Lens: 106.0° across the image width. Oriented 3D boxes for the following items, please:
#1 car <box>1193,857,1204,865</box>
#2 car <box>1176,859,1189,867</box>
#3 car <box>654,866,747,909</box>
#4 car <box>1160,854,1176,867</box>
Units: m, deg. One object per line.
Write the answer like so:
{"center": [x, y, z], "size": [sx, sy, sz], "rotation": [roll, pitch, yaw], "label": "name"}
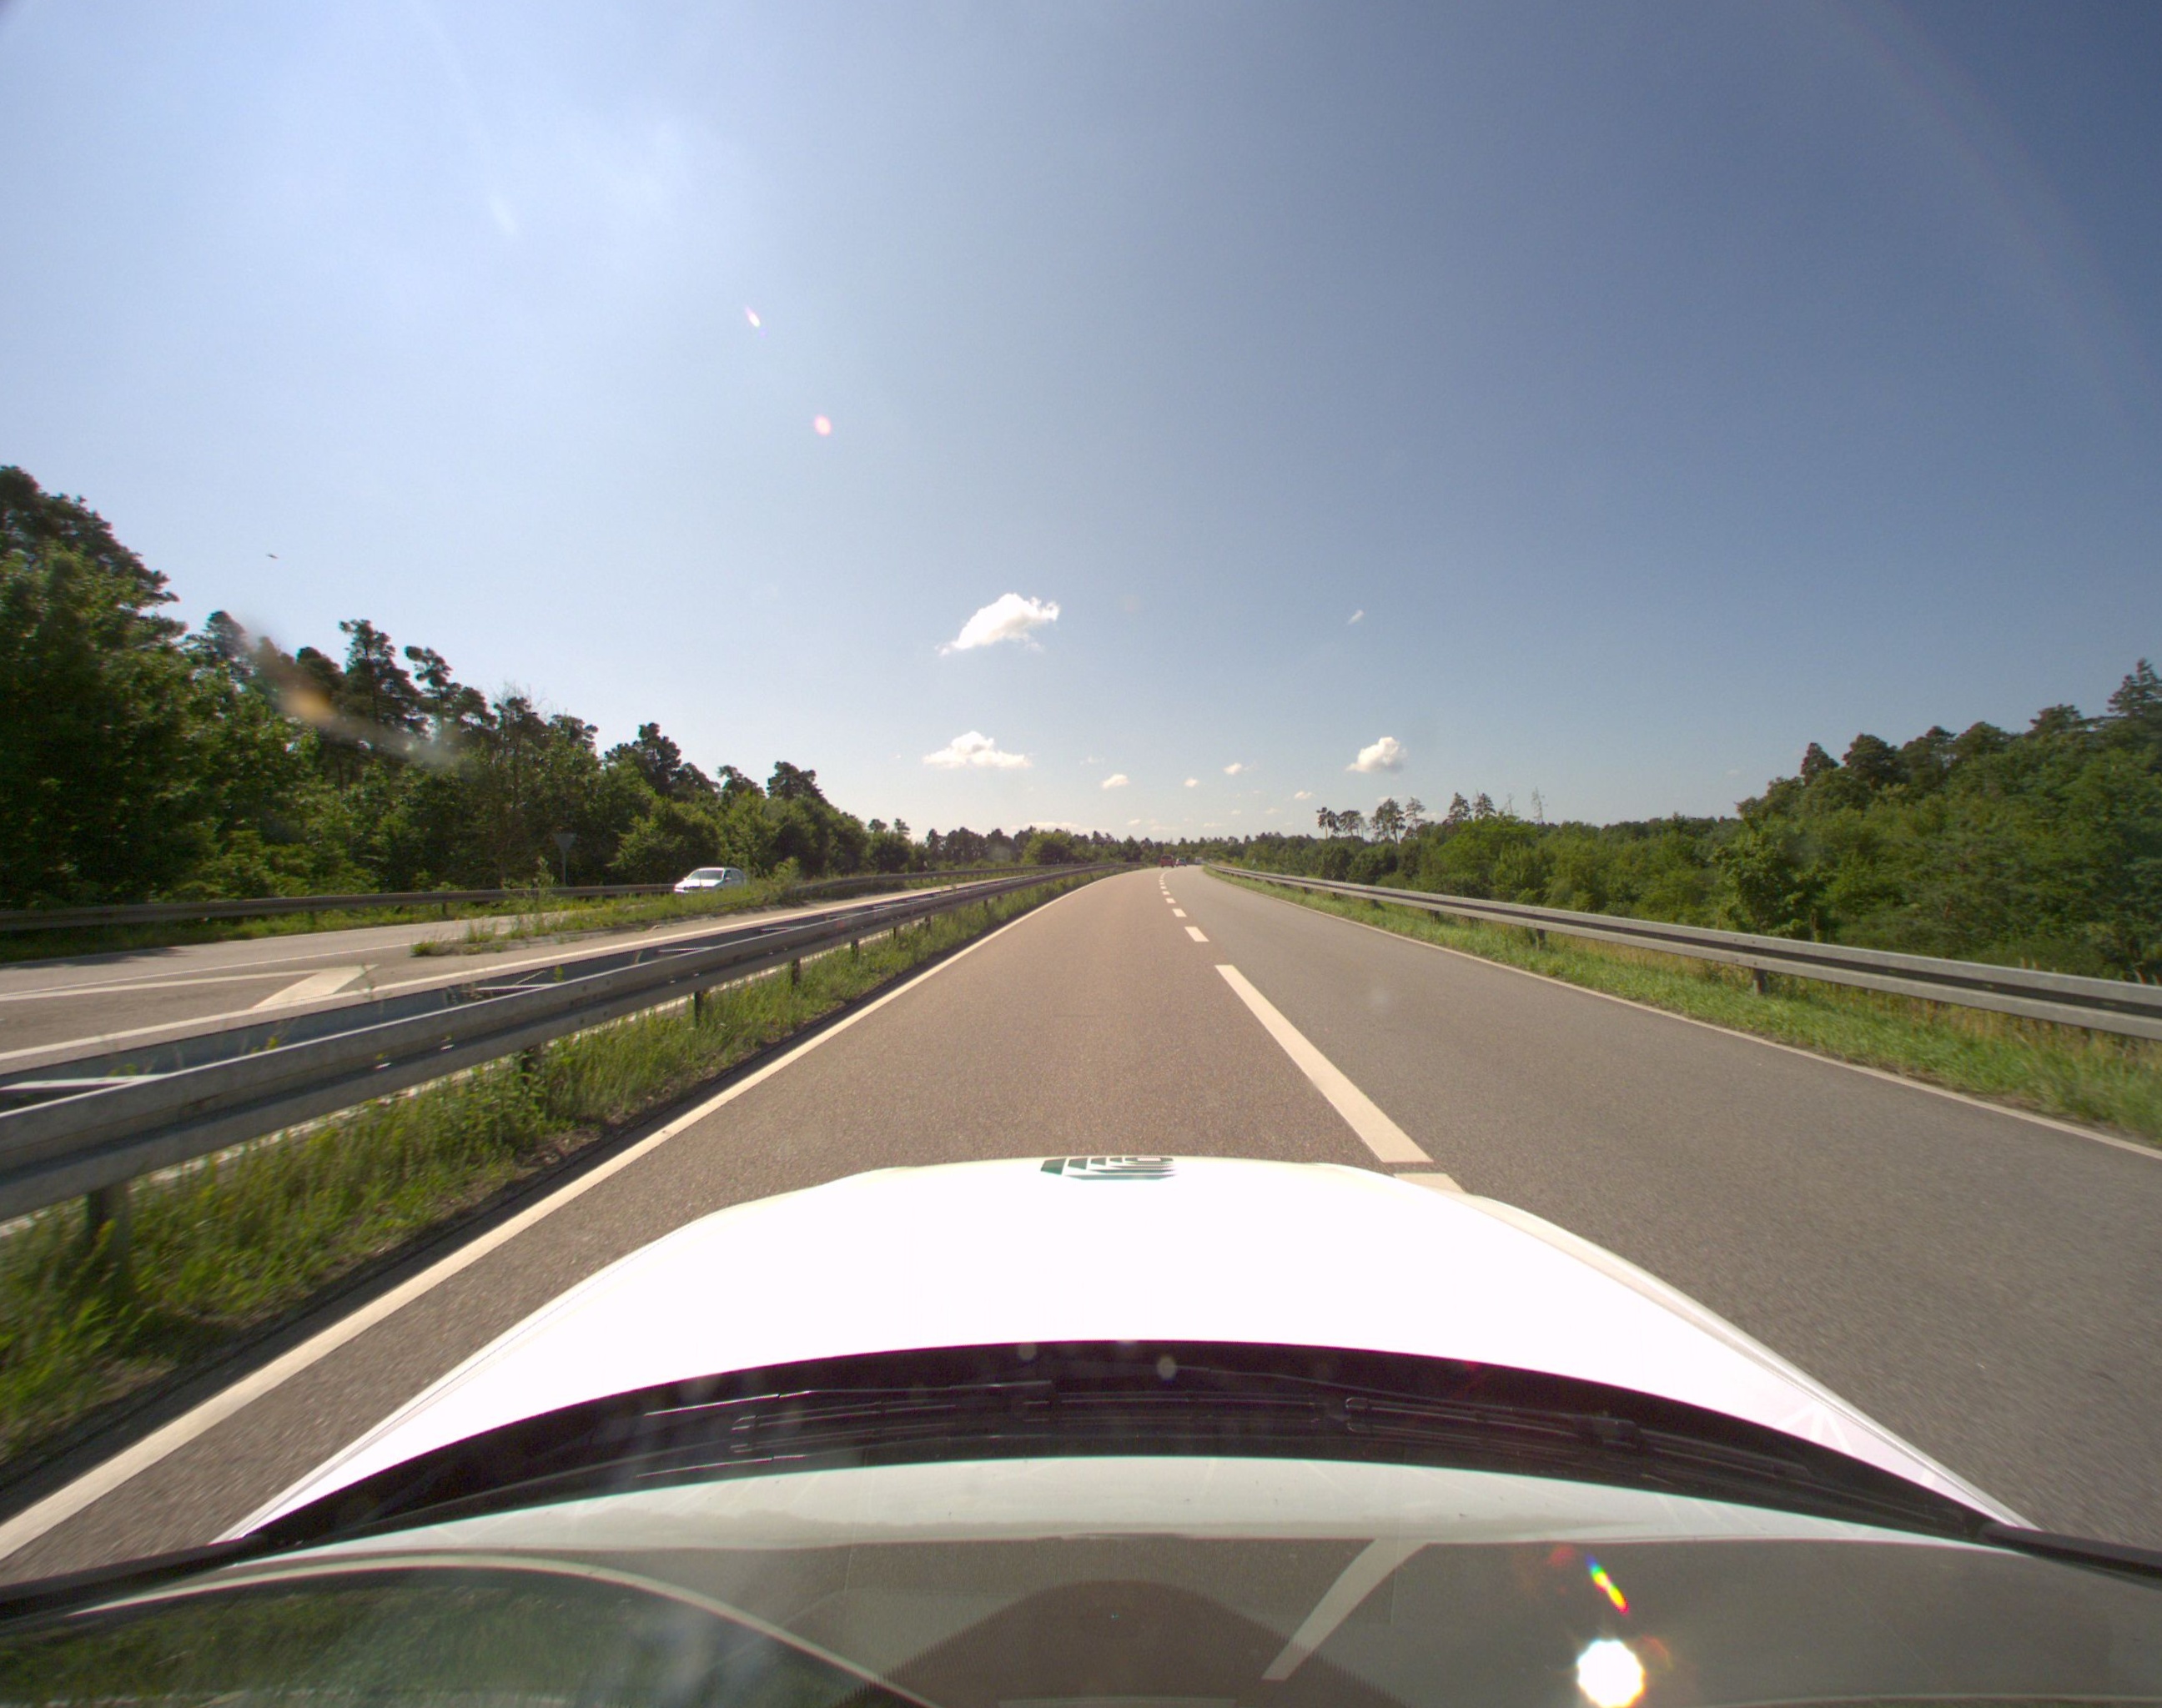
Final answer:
{"center": [28.796, 1.658, 199.016], "size": [2.169, 1.955, 5.825], "rotation": [0, -1, 14], "label": "car"}
{"center": [18.328, 1.620, 147.029], "size": [1.995, 1.494, 4.250], "rotation": [0, -1, 10], "label": "car"}
{"center": [-14.351, 1.220, 30.983], "size": [1.675, 1.428, 4.207], "rotation": [-1, 0, -3], "label": "car"}
{"center": [13.470, 1.076, 125.701], "size": [2.064, 1.993, 5.125], "rotation": [0, -1, 10], "label": "car"}
